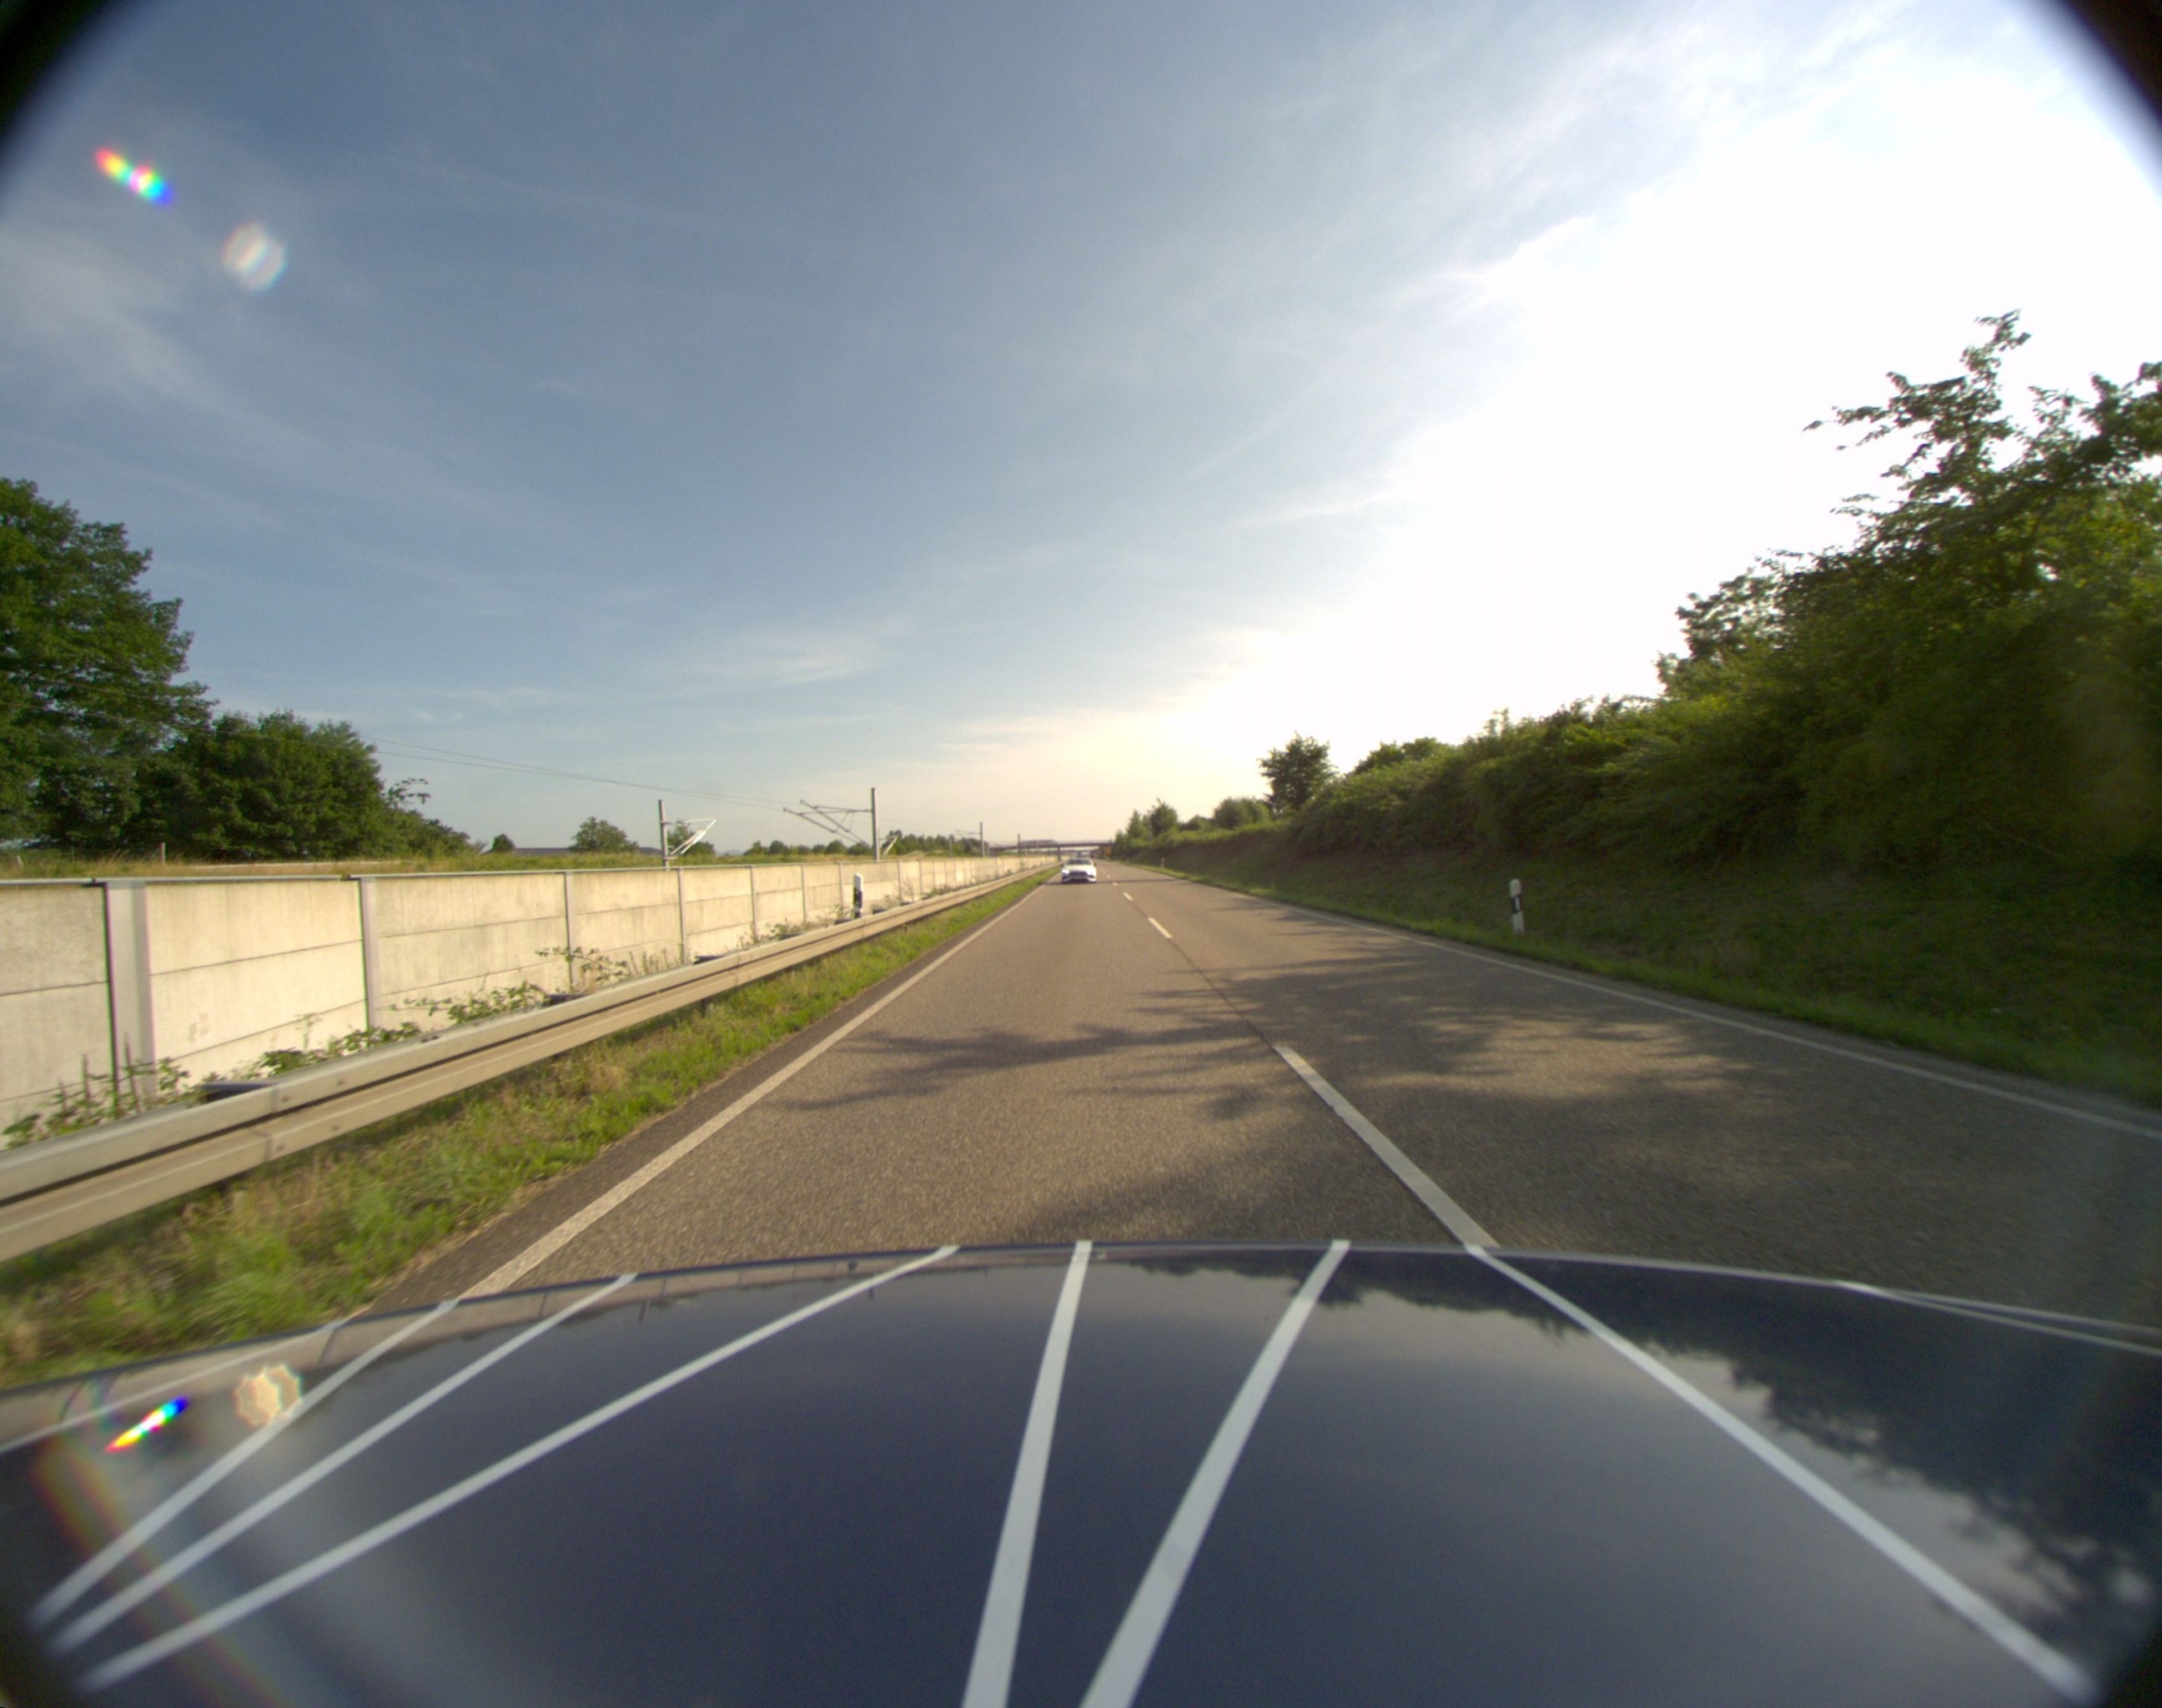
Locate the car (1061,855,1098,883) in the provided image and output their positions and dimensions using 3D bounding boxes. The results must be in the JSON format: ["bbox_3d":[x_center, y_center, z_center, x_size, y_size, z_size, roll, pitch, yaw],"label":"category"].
[{"bbox_3d":[-0.047,0.786,42.498,1.953,1.430,4.611,-2,0,1],"label":"car"}]
